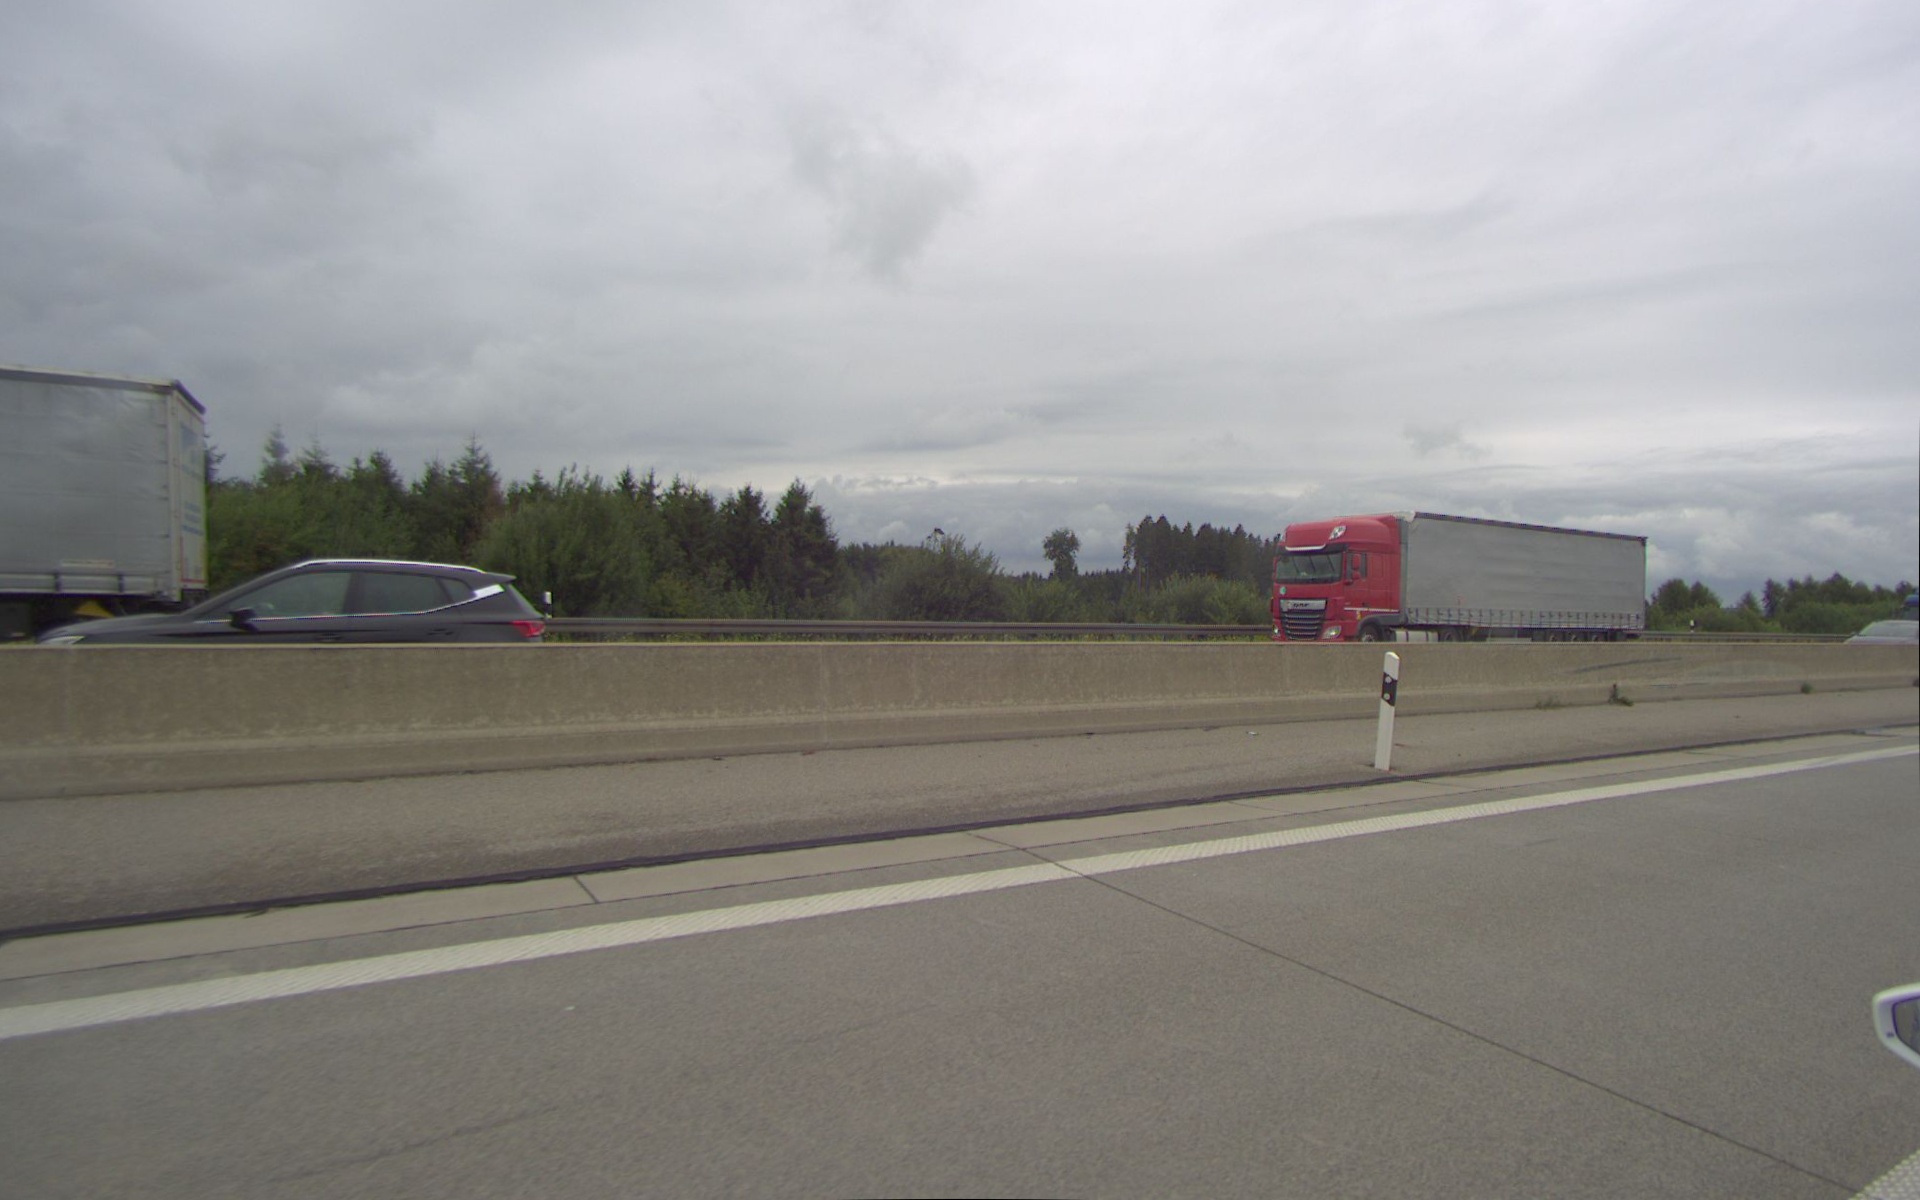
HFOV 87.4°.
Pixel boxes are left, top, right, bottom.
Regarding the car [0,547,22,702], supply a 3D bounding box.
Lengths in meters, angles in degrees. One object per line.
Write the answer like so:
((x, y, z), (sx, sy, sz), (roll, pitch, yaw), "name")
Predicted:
((-12.163, 0.232, 9.699), (4.244, 1.673, 1.607), (1, 0, -30), "car")

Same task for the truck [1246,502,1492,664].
((11.970, -0.412, 29.377), (6.416, 4.238, 3.454), (1, 0, -30), "truck")

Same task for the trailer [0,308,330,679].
((-15.763, -1.415, 12.274), (13.476, 4.687, 2.902), (1, 0, -30), "trailer")

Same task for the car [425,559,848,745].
((-3.472, 0.503, 10.981), (4.133, 1.701, 1.705), (1, 0, -31), "car")

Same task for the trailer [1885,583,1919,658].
((55.076, 1.166, 55.208), (12.255, 3.888, 2.835), (1, 0, -31), "trailer")

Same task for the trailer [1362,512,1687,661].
((19.151, -0.290, 33.582), (12.775, 4.258, 3.467), (1, 0, -30), "trailer")
